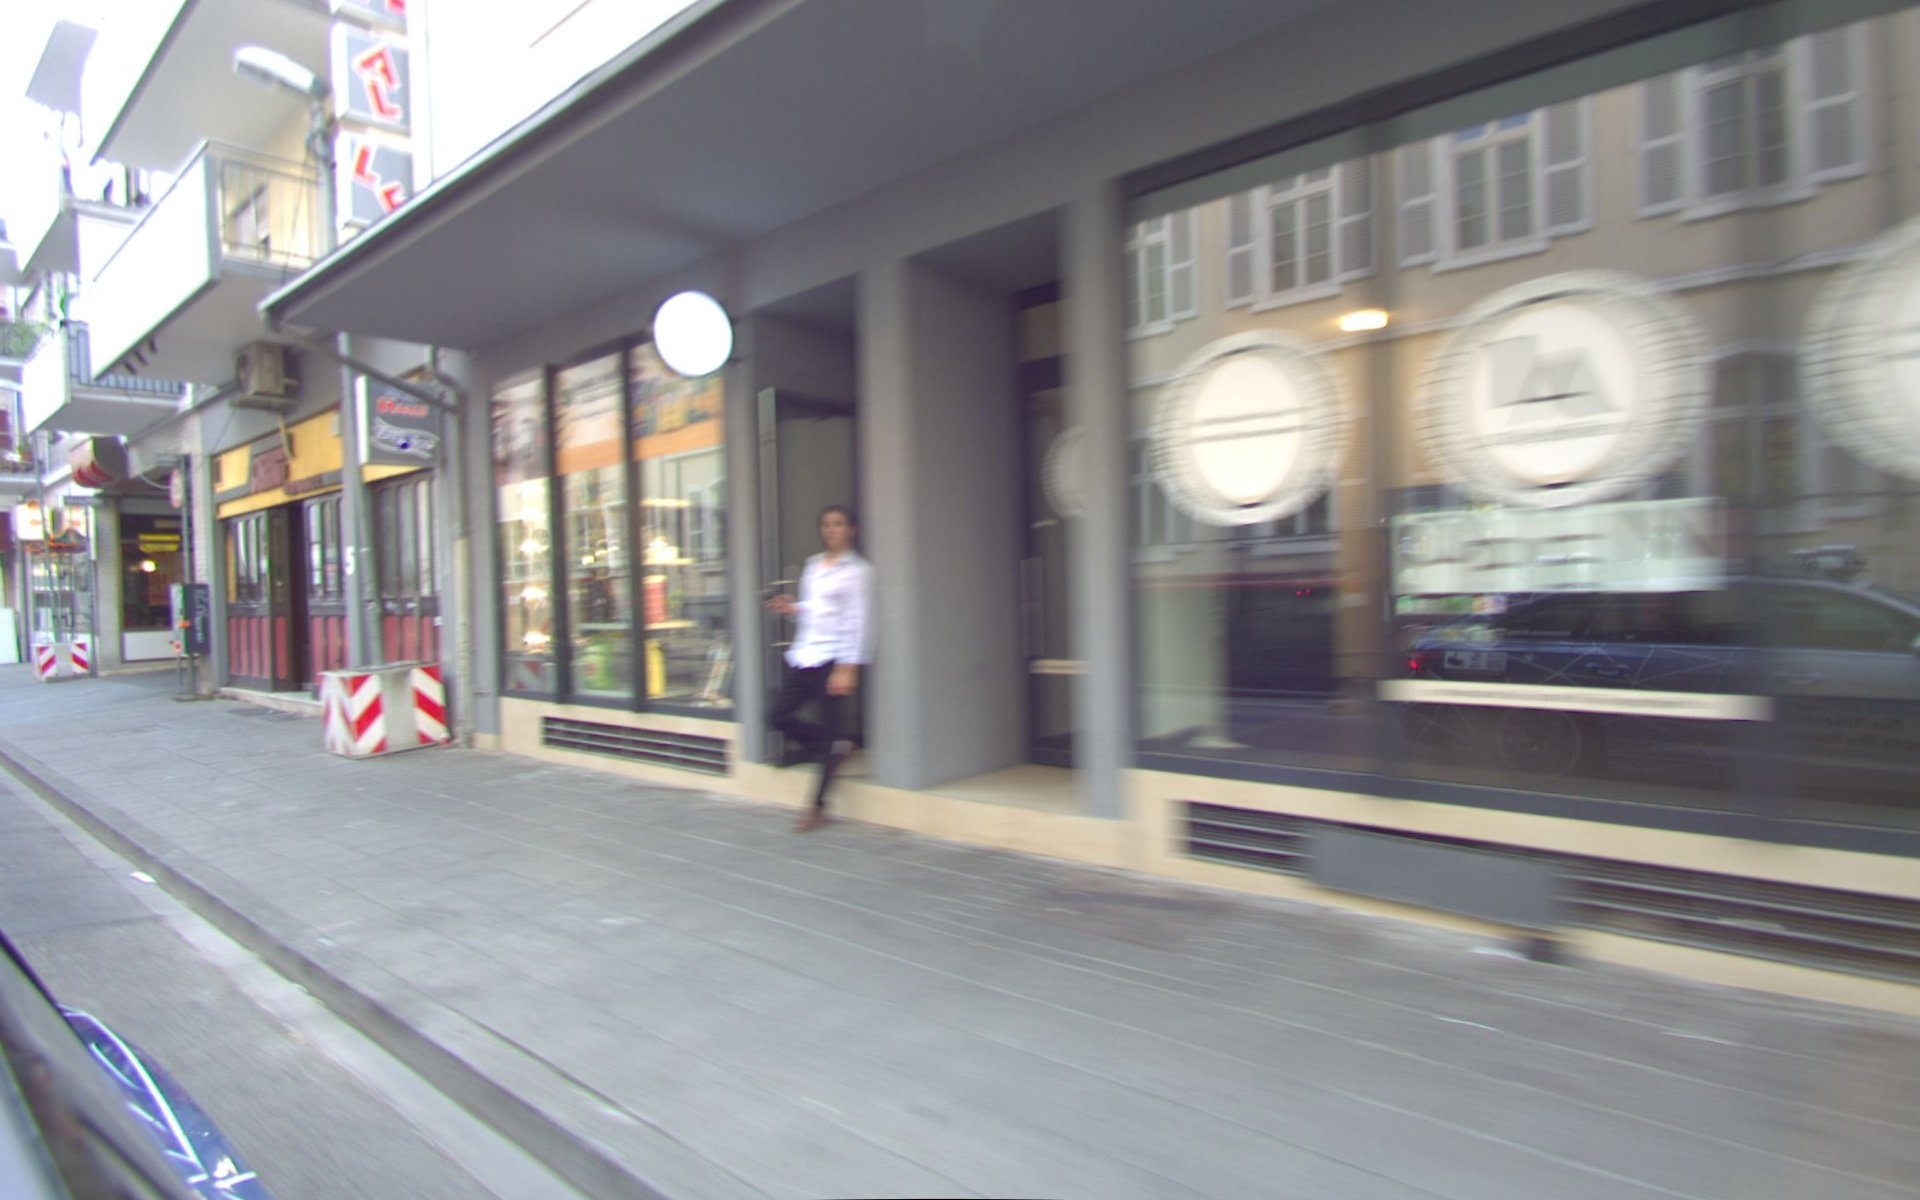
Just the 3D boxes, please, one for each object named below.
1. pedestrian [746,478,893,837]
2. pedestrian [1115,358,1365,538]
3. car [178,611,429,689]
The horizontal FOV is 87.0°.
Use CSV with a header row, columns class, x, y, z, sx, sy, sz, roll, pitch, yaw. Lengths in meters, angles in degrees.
class,x,y,z,sx,sy,sz,roll,pitch,yaw
pedestrian,-0.772,0.297,5.588,0.561,1.848,0.526,-2,0,35
pedestrian,3.984,-2.094,15.208,1.967,2.029,4.009,-1,-1,-12
car,-14.458,1.025,22.478,2.018,1.432,4.273,-1,0,39
